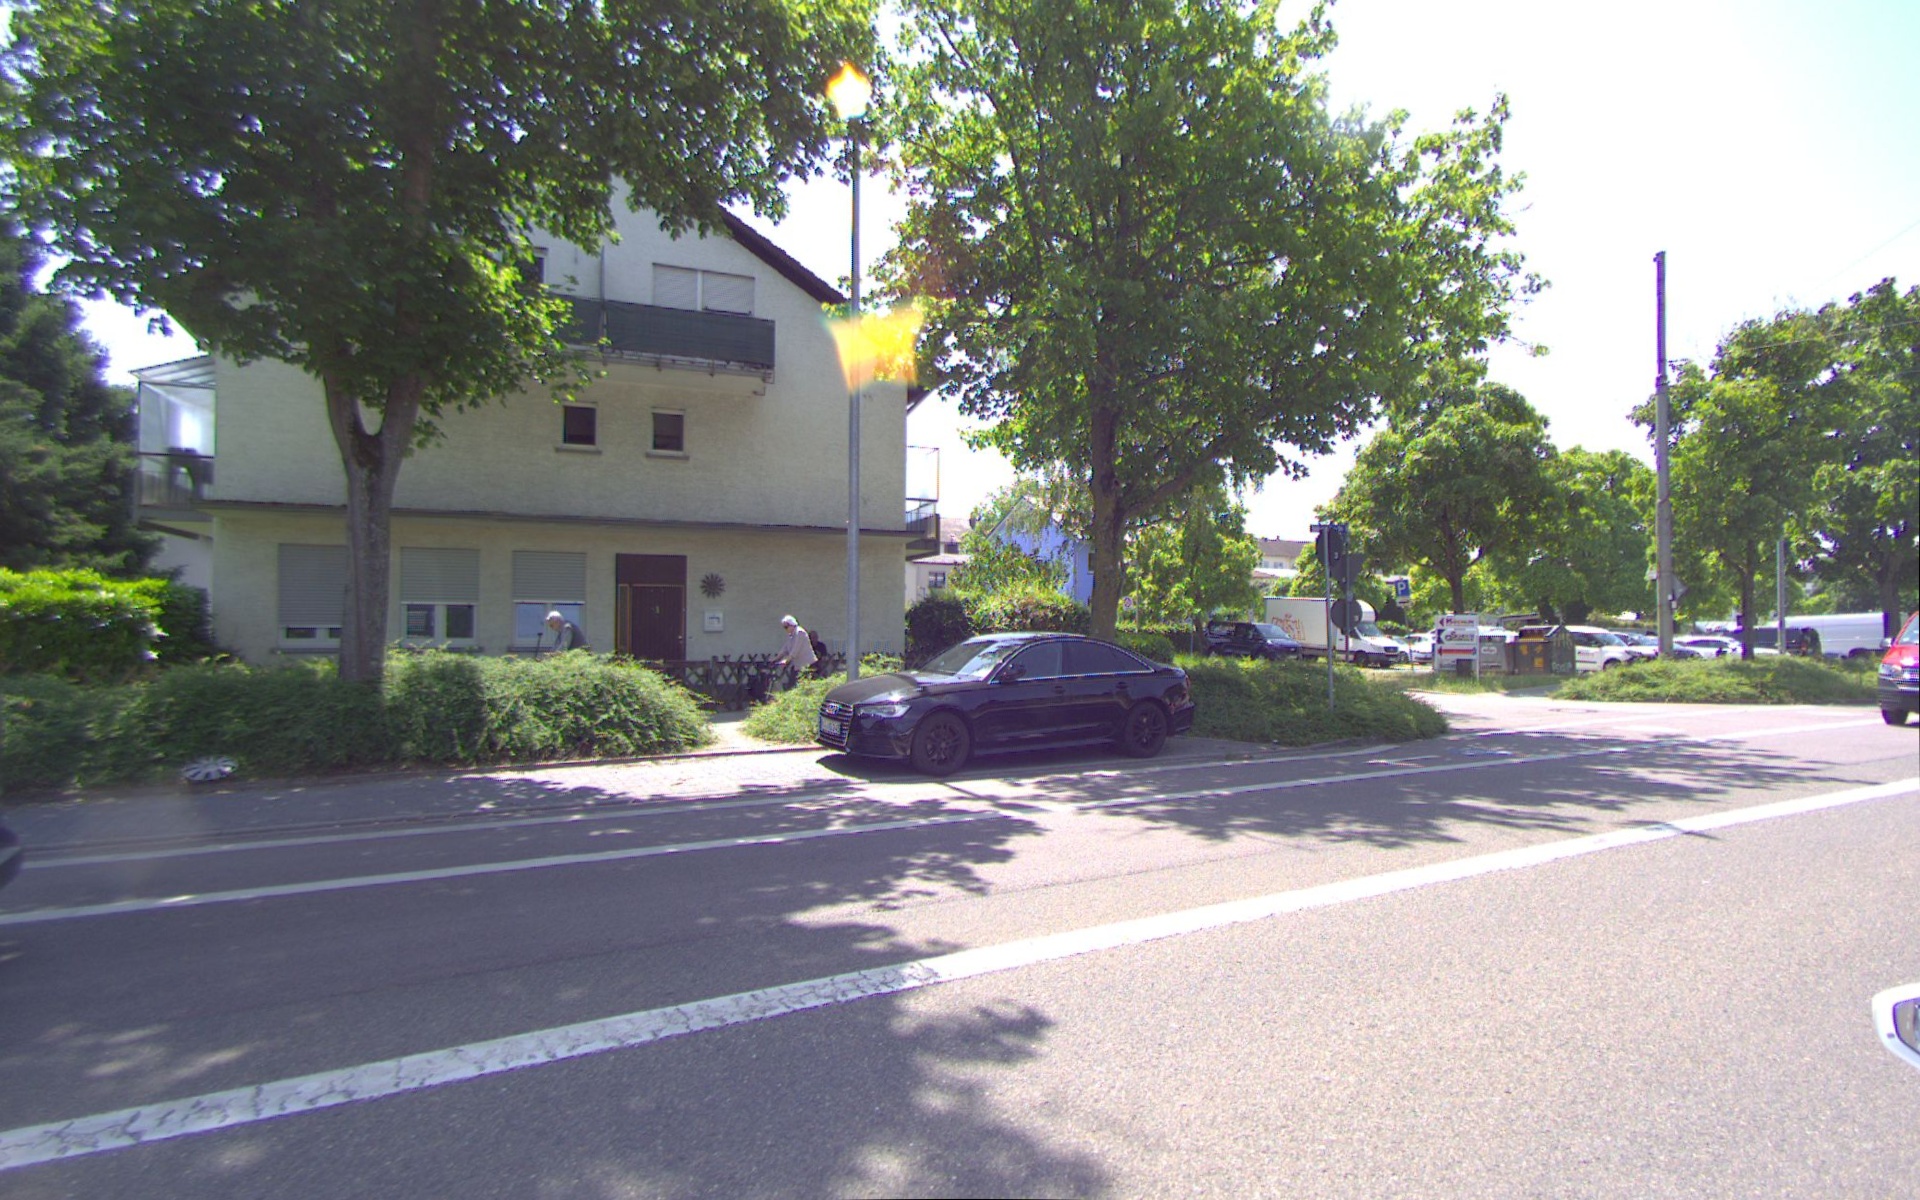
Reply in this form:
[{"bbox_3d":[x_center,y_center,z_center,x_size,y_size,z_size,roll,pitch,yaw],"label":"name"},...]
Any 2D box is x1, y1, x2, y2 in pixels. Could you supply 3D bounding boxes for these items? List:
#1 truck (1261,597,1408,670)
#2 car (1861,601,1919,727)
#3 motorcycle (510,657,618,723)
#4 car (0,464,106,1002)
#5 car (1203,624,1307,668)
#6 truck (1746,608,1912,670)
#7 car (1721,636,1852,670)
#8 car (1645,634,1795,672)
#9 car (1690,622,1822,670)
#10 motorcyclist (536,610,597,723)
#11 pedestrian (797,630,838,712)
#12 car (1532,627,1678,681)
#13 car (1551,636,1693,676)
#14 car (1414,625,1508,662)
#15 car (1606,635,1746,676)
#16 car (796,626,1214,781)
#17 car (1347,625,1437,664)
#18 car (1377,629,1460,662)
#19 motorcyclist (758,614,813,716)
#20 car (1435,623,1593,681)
[{"bbox_3d":[18.114,1.568,49.065,2.126,3.270,6.941,1,-1,-31],"label":"truck"},{"bbox_3d":[17.069,1.032,16.679,4.766,1.951,1.889,1,-3,-32],"label":"car"},{"bbox_3d":[-5.570,1.254,14.146,1.354,0.837,0.523,1,1,-30],"label":"motorcycle"},{"bbox_3d":[-5.663,0.471,2.928,4.518,1.935,1.909,1,-3,-31],"label":"car"},{"bbox_3d":[13.456,2.074,46.146,1.915,1.844,4.689,1,-1,-27],"label":"car"},{"bbox_3d":[41.670,1.858,48.321,2.402,2.796,5.555,1,-2,-29],"label":"truck"},{"bbox_3d":[37.134,2.352,45.215,1.836,1.429,4.188,1,-2,-31],"label":"car"},{"bbox_3d":[32.385,2.205,42.960,2.035,1.508,4.737,1,-2,-31],"label":"car"},{"bbox_3d":[34.915,1.995,44.163,1.836,2.021,4.188,1,-2,-31],"label":"car"},{"bbox_3d":[-5.543,0.911,14.141,0.716,1.523,0.583,1,1,-29],"label":"motorcyclist"},{"bbox_3d":[-2.755,1.356,19.433,0.599,1.530,0.792,1,-2,-23],"label":"pedestrian"},{"bbox_3d":[23.560,1.915,36.865,1.652,1.860,4.251,1,-2,-27],"label":"car"},{"bbox_3d":[25.607,2.120,38.990,2.059,1.422,4.171,1,-2,-34],"label":"car"},{"bbox_3d":[26.843,2.301,53.927,1.948,1.844,4.107,1,-1,-30],"label":"car"},{"bbox_3d":[28.187,2.140,39.683,1.907,1.528,4.107,1,-2,-27],"label":"car"},{"bbox_3d":[0.643,1.076,11.901,4.758,1.476,1.883,1,-1,-33],"label":"car"},{"bbox_3d":[22.163,2.246,51.676,1.628,1.844,4.107,1,-1,-30],"label":"car"},{"bbox_3d":[24.367,2.396,53.467,1.713,1.596,3.728,1,-1,-30],"label":"car"},{"bbox_3d":[-2.717,0.997,15.620,0.654,1.523,0.583,1,1,-29],"label":"motorcyclist"},{"bbox_3d":[19.236,1.750,35.051,2.039,1.881,4.421,1,-2,-33],"label":"car"}]
